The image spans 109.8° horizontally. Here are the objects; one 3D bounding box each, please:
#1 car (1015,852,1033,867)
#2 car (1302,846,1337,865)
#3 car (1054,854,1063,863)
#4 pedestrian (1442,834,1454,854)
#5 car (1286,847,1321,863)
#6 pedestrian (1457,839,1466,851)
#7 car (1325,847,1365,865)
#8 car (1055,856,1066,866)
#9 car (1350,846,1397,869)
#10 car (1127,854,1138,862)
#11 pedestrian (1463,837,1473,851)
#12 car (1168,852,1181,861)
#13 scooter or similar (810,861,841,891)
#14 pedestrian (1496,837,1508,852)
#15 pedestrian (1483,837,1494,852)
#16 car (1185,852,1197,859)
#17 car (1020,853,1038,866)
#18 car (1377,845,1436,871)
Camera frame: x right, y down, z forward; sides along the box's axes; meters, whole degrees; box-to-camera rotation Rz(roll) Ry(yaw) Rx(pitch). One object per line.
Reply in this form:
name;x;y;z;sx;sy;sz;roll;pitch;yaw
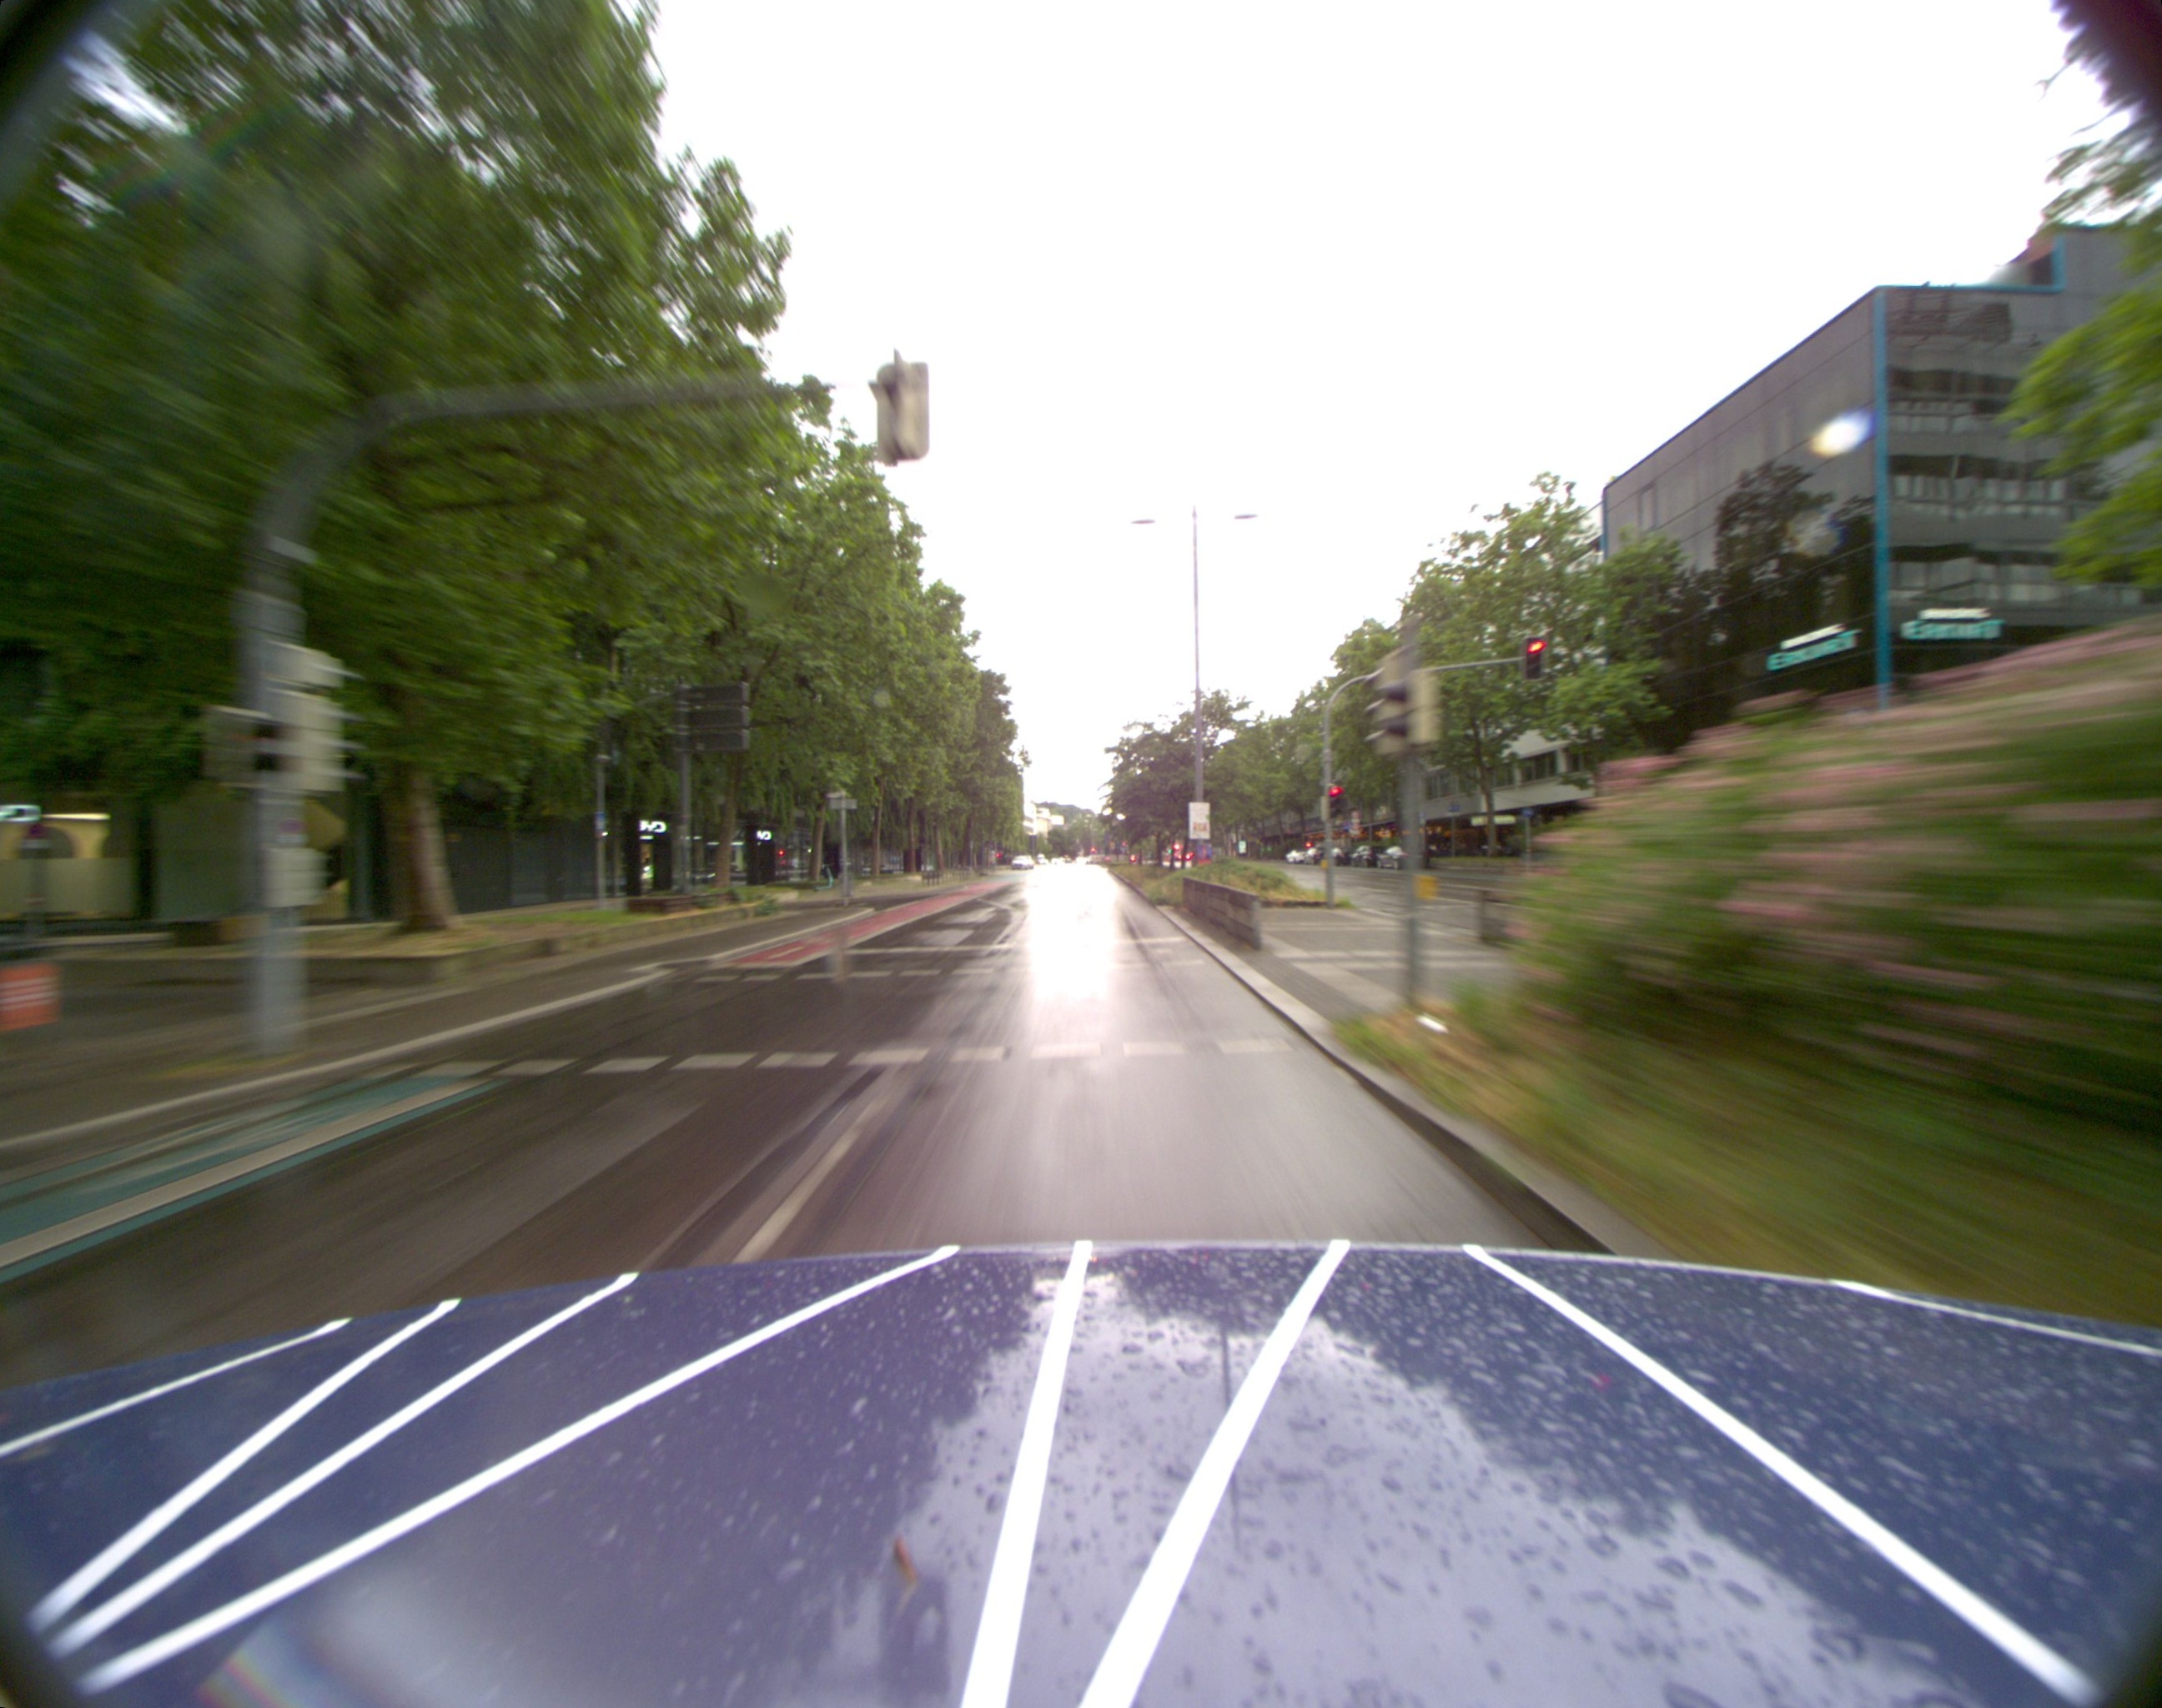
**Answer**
car;-7.254;0.719;96.758;1.932;1.726;4.597;-3;1;-1
car;20.176;0.069;64.351;1.750;1.445;3.788;-3;1;1
car;-4.515;0.859;152.564;1.557;1.534;3.663;-3;1;0
pedestrian;30.614;-0.842;63.435;0.606;1.638;0.623;-3;2;-4
car;20.437;0.074;69.985;1.881;1.318;4.391;-3;1;1
pedestrian;27.871;-0.666;55.654;0.440;0.845;0.433;-3;1;-2
car;20.208;0.115;58.354;1.647;1.232;4.318;-3;1;2
car;-3.429;1.145;128.013;1.780;1.546;3.929;-3;1;0
car;20.067;0.186;52.255;1.875;1.414;3.400;-3;1;1
car;9.884;0.804;144.952;1.678;1.381;3.527;-3;1;-3
pedestrian;27.643;-0.703;54.282;0.464;1.010;0.424;-3;1;-2
car;17.222;0.493;140.132;1.781;1.565;3.728;-3;1;-1
scooter or similar;-11.790;1.011;35.112;1.187;1.275;0.535;-4;2;-40
pedestrian;27.876;-0.609;50.324;0.458;0.958;0.453;-4;2;-15
pedestrian;27.607;-0.652;51.491;0.459;0.987;0.463;-4;2;-15
car;21.038;0.258;144.980;1.765;1.318;3.737;-3;1;1
car;-7.006;0.670;102.835;2.036;1.553;4.584;-3;1;1
car;19.993;0.235;46.908;1.875;1.377;4.537;-3;1;4
